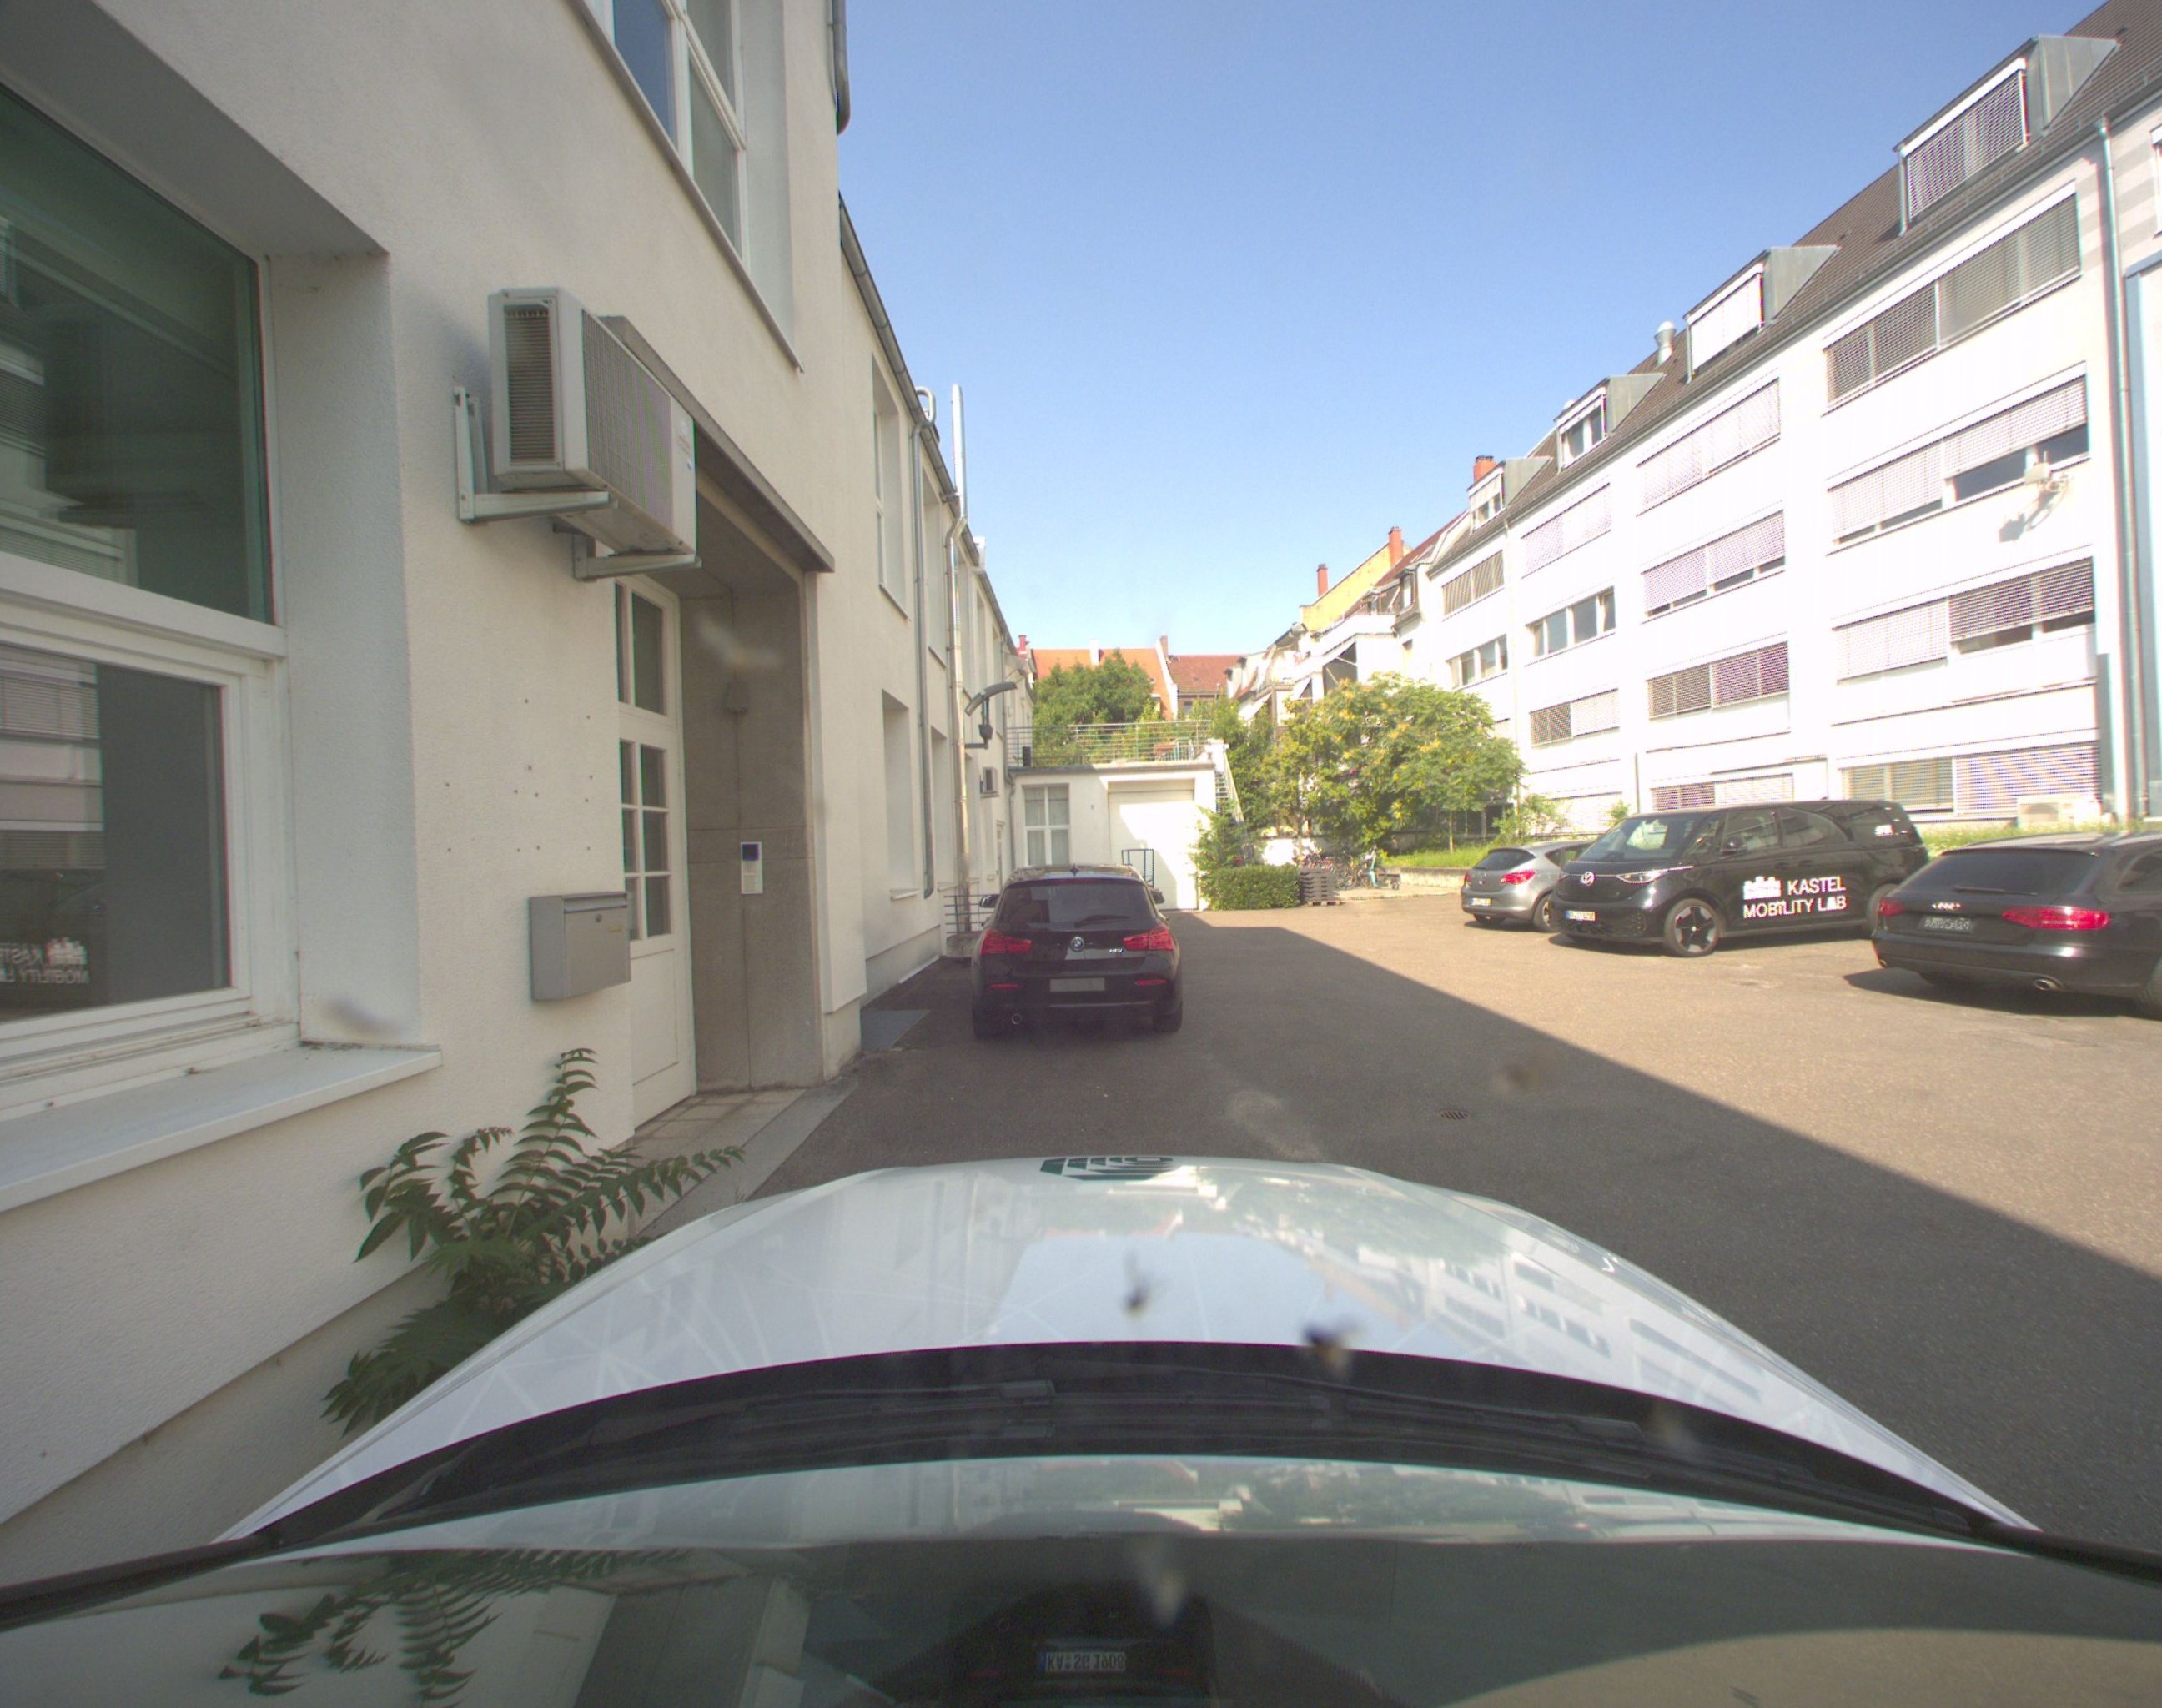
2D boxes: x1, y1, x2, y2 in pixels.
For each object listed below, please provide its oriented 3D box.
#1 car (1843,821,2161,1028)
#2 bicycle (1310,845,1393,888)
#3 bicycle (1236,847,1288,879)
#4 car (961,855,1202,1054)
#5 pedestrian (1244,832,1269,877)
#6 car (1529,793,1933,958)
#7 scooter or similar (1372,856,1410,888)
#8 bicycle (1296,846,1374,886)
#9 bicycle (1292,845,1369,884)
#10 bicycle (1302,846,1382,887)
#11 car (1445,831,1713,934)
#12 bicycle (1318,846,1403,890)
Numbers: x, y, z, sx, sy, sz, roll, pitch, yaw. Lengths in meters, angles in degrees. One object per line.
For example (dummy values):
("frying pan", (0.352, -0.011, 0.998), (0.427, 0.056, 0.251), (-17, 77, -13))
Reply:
("car", (9.302, 0.456, 6.866), (4.220, 1.437, 1.690), (-3, 0, -1))
("bicycle", (8.451, 0.389, 25.499), (2.403, 1.246, 0.526), (-1, 0, 0))
("bicycle", (7.197, 0.363, 32.399), (1.992, 1.143, 0.487), (-3, 1, -17))
("car", (-0.048, 0.757, 8.224), (1.788, 1.428, 4.133), (-1, 0, -2))
("pedestrian", (6.994, 0.020, 32.514), (0.611, 1.771, 0.856), (-1, 0, -18))
("car", (8.811, 0.235, 11.215), (4.334, 1.859, 1.909), (-3, 0, -9))
("scooter or similar", (9.266, 0.545, 24.365), (0.362, 0.924, 0.988), (-1, 0, -37))
("bicycle", (8.398, 0.382, 26.930), (2.403, 1.246, 0.526), (-1, 0, 0))
("bicycle", (8.433, 0.360, 27.557), (2.403, 1.246, 0.526), (-1, 0, 0))
("bicycle", (8.389, 0.395, 26.239), (2.403, 1.246, 0.526), (-1, 0, 0))
("car", (8.585, 0.437, 14.127), (3.900, 1.466, 1.656), (-3, 0, -13))
("bicycle", (8.494, 0.425, 24.802), (2.403, 1.246, 0.526), (-1, 0, 0))
